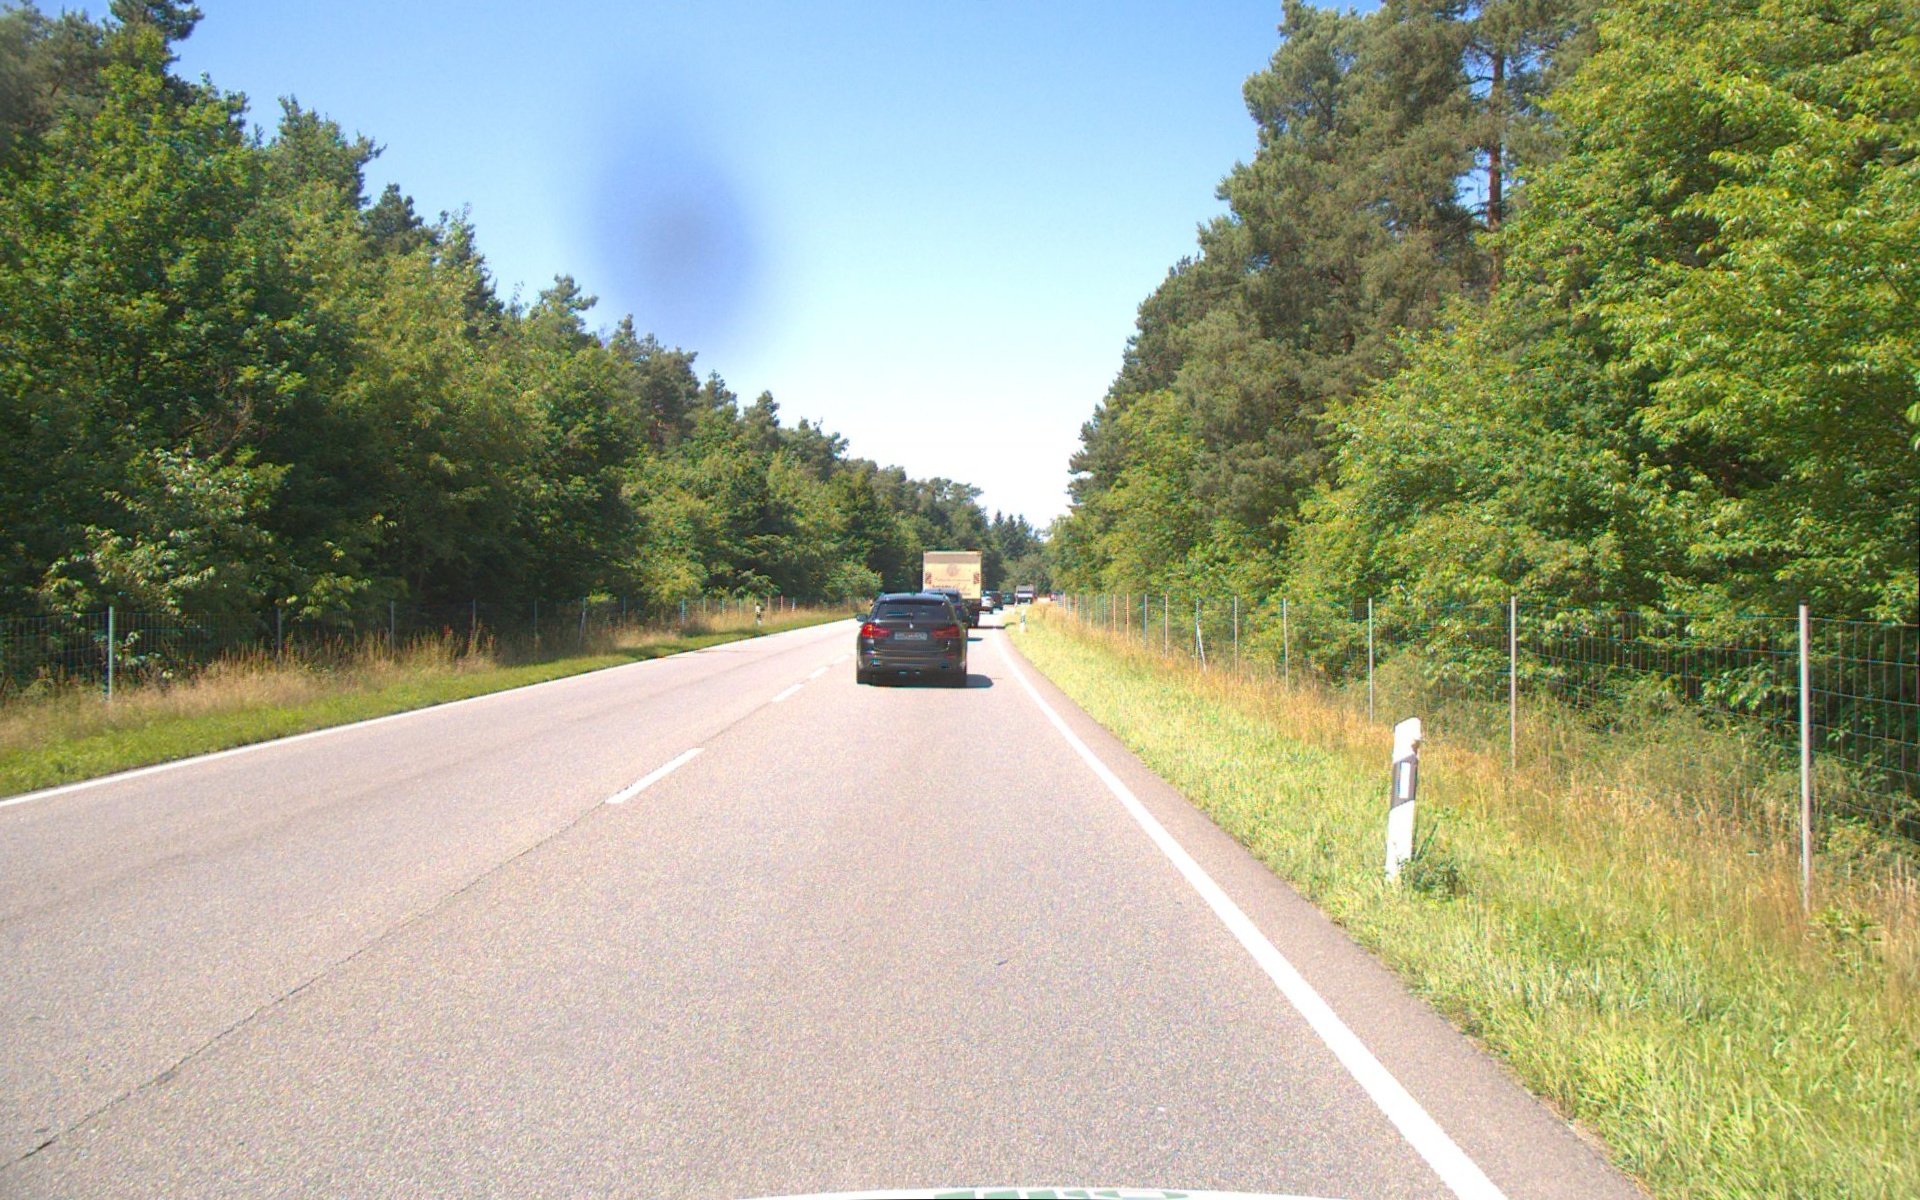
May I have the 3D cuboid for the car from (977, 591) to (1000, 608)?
[{"bbox_3d":[2.489,-0.092,146.751,1.953,1.445,4.000,1,1,0],"label":"car"}]

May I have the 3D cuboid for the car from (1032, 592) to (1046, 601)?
[{"bbox_3d":[11.443,-0.507,238.336,1.756,1.378,3.932,0,0,7],"label":"car"}]

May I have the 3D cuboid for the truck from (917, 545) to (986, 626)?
[{"bbox_3d":[-0.453,-0.651,73.097,2.906,3.447,6.436,0,0,-2],"label":"truck"}]

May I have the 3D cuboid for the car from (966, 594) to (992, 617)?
[{"bbox_3d":[1.365,0.395,120.136,1.825,1.633,4.000,0,0,0],"label":"car"}]

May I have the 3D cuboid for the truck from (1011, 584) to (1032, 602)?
[{"bbox_3d":[7.801,-0.910,208.005,2.510,2.240,4.976,0,1,4],"label":"truck"}]

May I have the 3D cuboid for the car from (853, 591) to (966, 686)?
[{"bbox_3d":[-0.859,0.593,28.138,1.784,1.496,3.999,0,0,-2],"label":"car"}]

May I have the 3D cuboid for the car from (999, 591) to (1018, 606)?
[{"bbox_3d":[5.364,-0.150,183.424,1.952,1.665,4.002,-1,0,3],"label":"car"}]

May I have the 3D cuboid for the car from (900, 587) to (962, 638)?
[{"bbox_3d":[-0.919,0.388,53.949,1.907,1.568,4.000,-1,0,0],"label":"car"}]
